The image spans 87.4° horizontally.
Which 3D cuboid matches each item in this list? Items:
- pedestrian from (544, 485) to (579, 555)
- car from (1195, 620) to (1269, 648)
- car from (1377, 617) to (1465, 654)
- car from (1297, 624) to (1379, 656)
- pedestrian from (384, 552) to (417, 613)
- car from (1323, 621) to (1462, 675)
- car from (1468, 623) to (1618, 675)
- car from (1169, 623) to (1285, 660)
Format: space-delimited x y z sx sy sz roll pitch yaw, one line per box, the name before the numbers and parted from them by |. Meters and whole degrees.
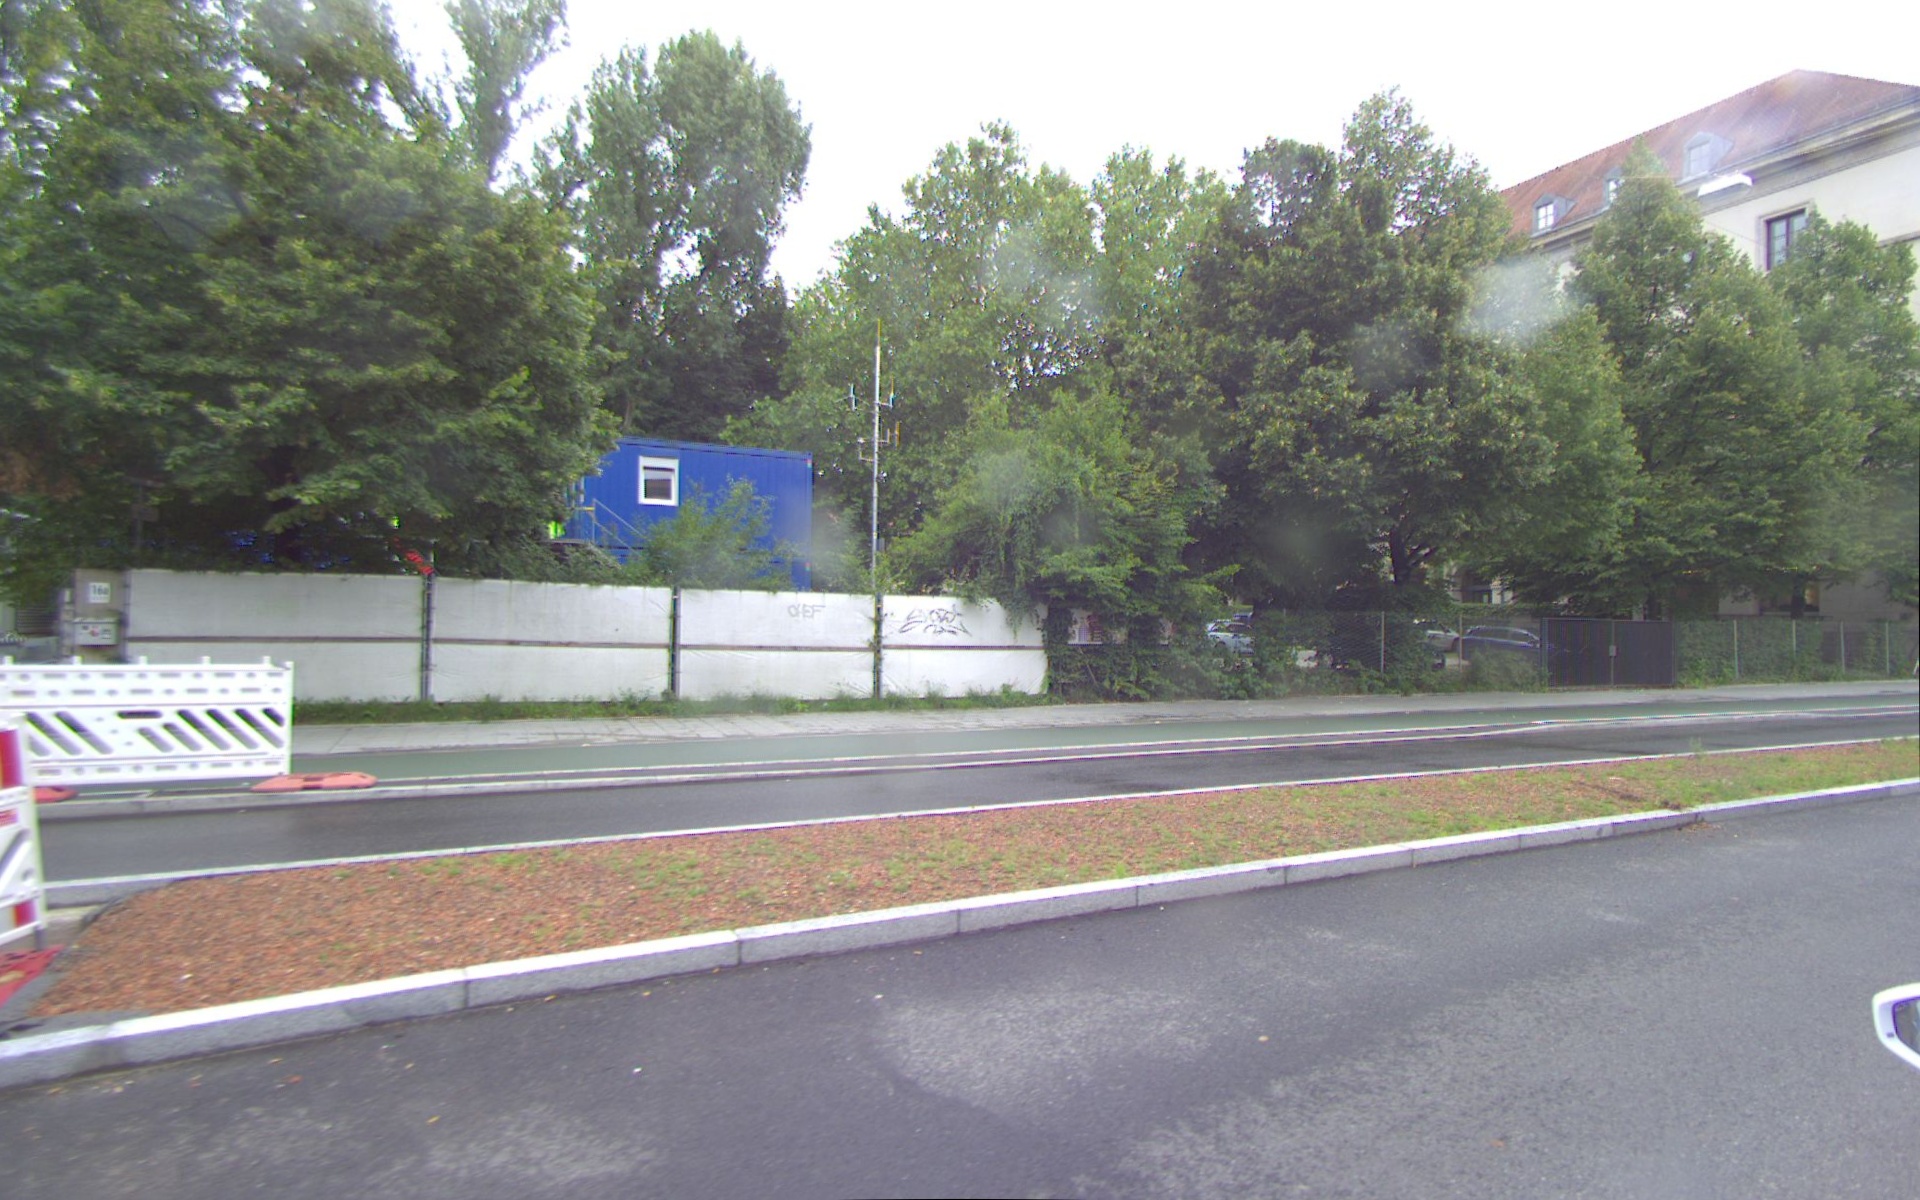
pedestrian | -10.897 -2.169 27.451 0.787 1.798 0.827 1 -1 -29
car | 15.704 1.951 57.938 3.949 1.564 1.764 1 -1 -27
car | 21.571 1.649 46.966 3.948 1.662 1.659 1 -1 -27
car | 19.368 2.062 51.423 3.949 1.564 1.764 1 -1 -27
pedestrian | -16.998 -0.523 30.500 0.824 1.798 0.790 1 -1 -31
car | 13.665 1.486 32.024 1.777 1.610 4.142 1 -1 -19
car | 20.172 1.644 34.953 1.781 1.671 4.248 1 -1 -26
car | 11.145 1.703 41.883 4.573 1.460 1.986 1 -1 -27
